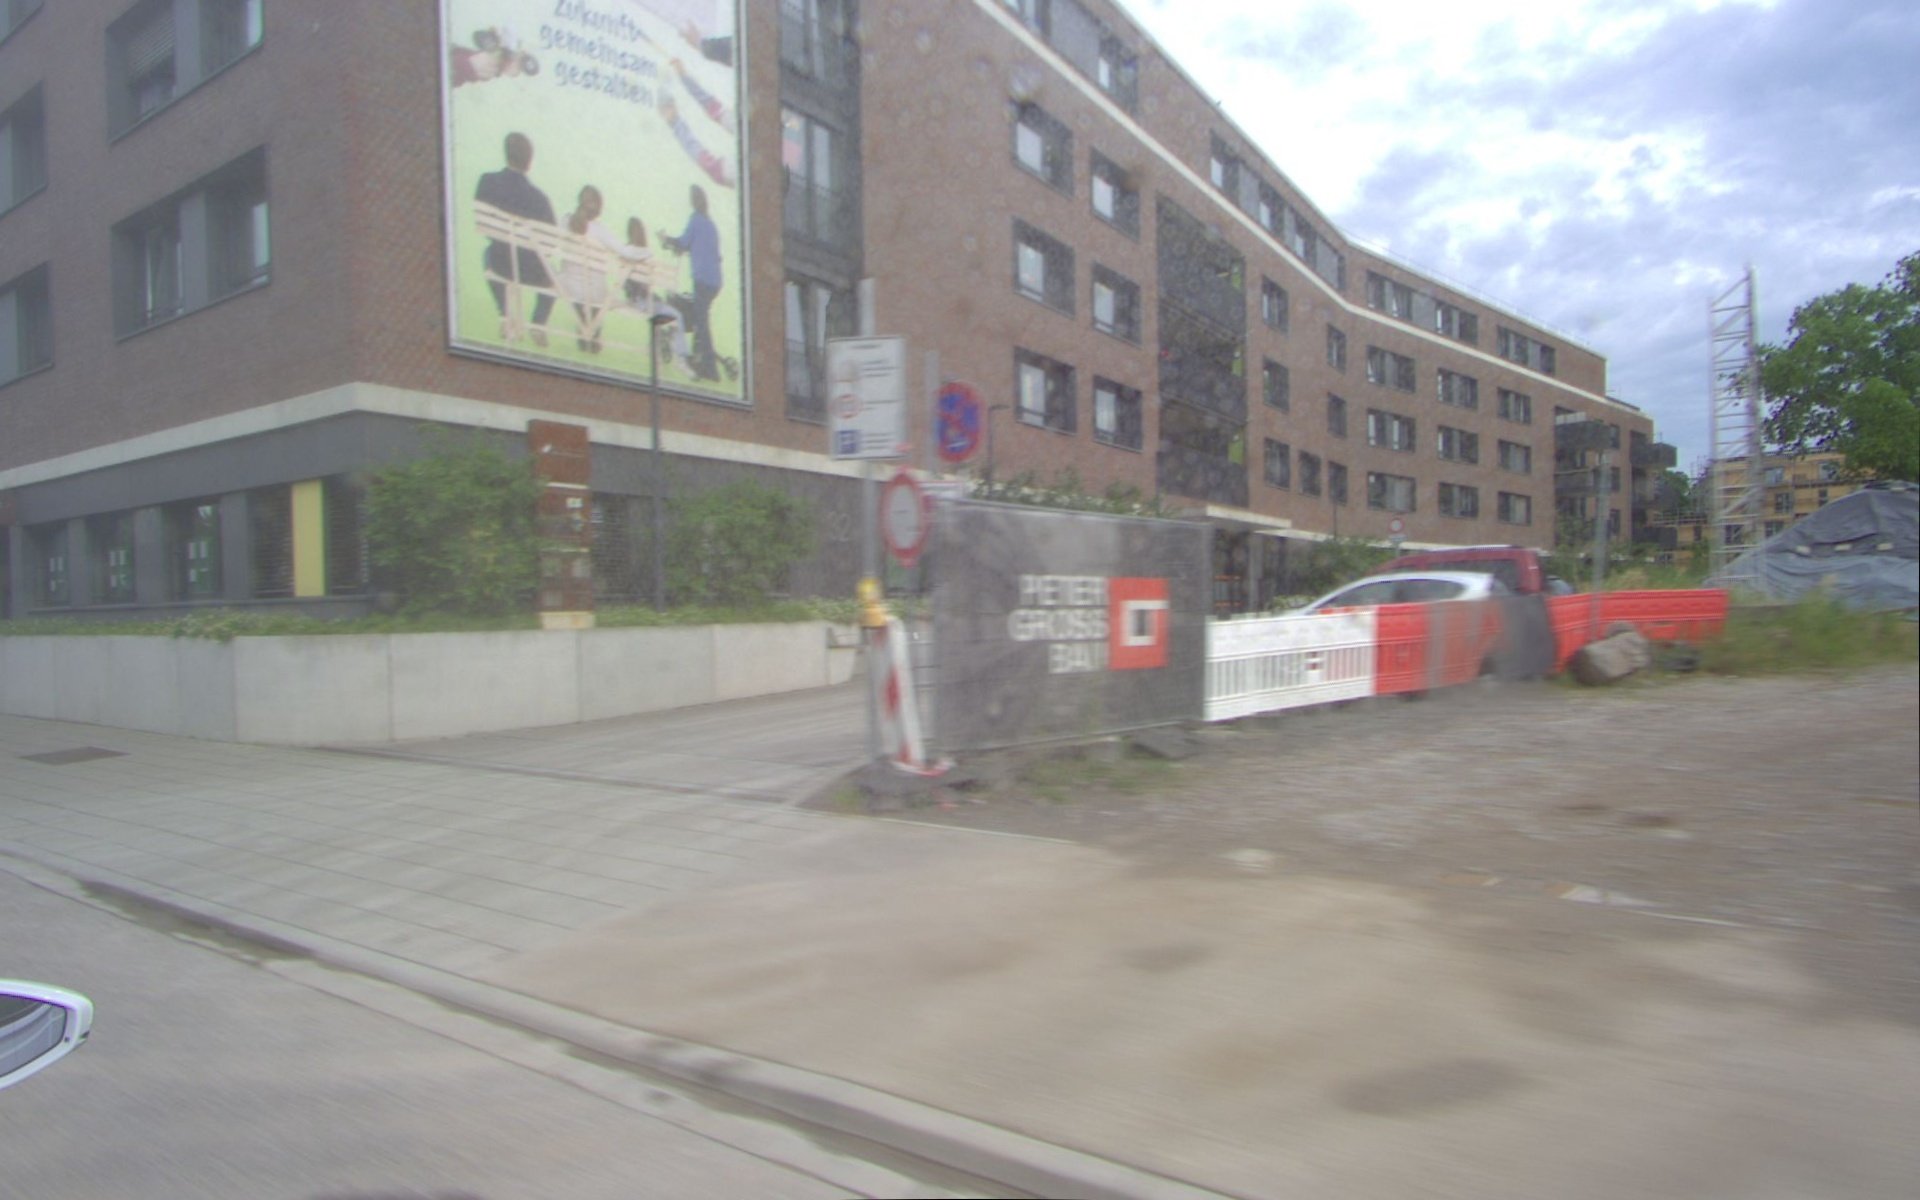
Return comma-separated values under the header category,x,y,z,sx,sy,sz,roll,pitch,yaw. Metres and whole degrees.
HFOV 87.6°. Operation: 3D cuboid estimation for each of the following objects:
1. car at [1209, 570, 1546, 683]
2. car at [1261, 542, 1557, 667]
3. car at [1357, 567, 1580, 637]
category,x,y,z,sx,sy,sz,roll,pitch,yaw
car,5.978,0.361,14.519,4.282,1.437,1.760,-1,1,30
car,7.543,0.085,16.947,4.355,1.870,1.919,-1,1,31
car,11.497,0.063,22.740,4.291,1.437,1.756,-1,1,37
